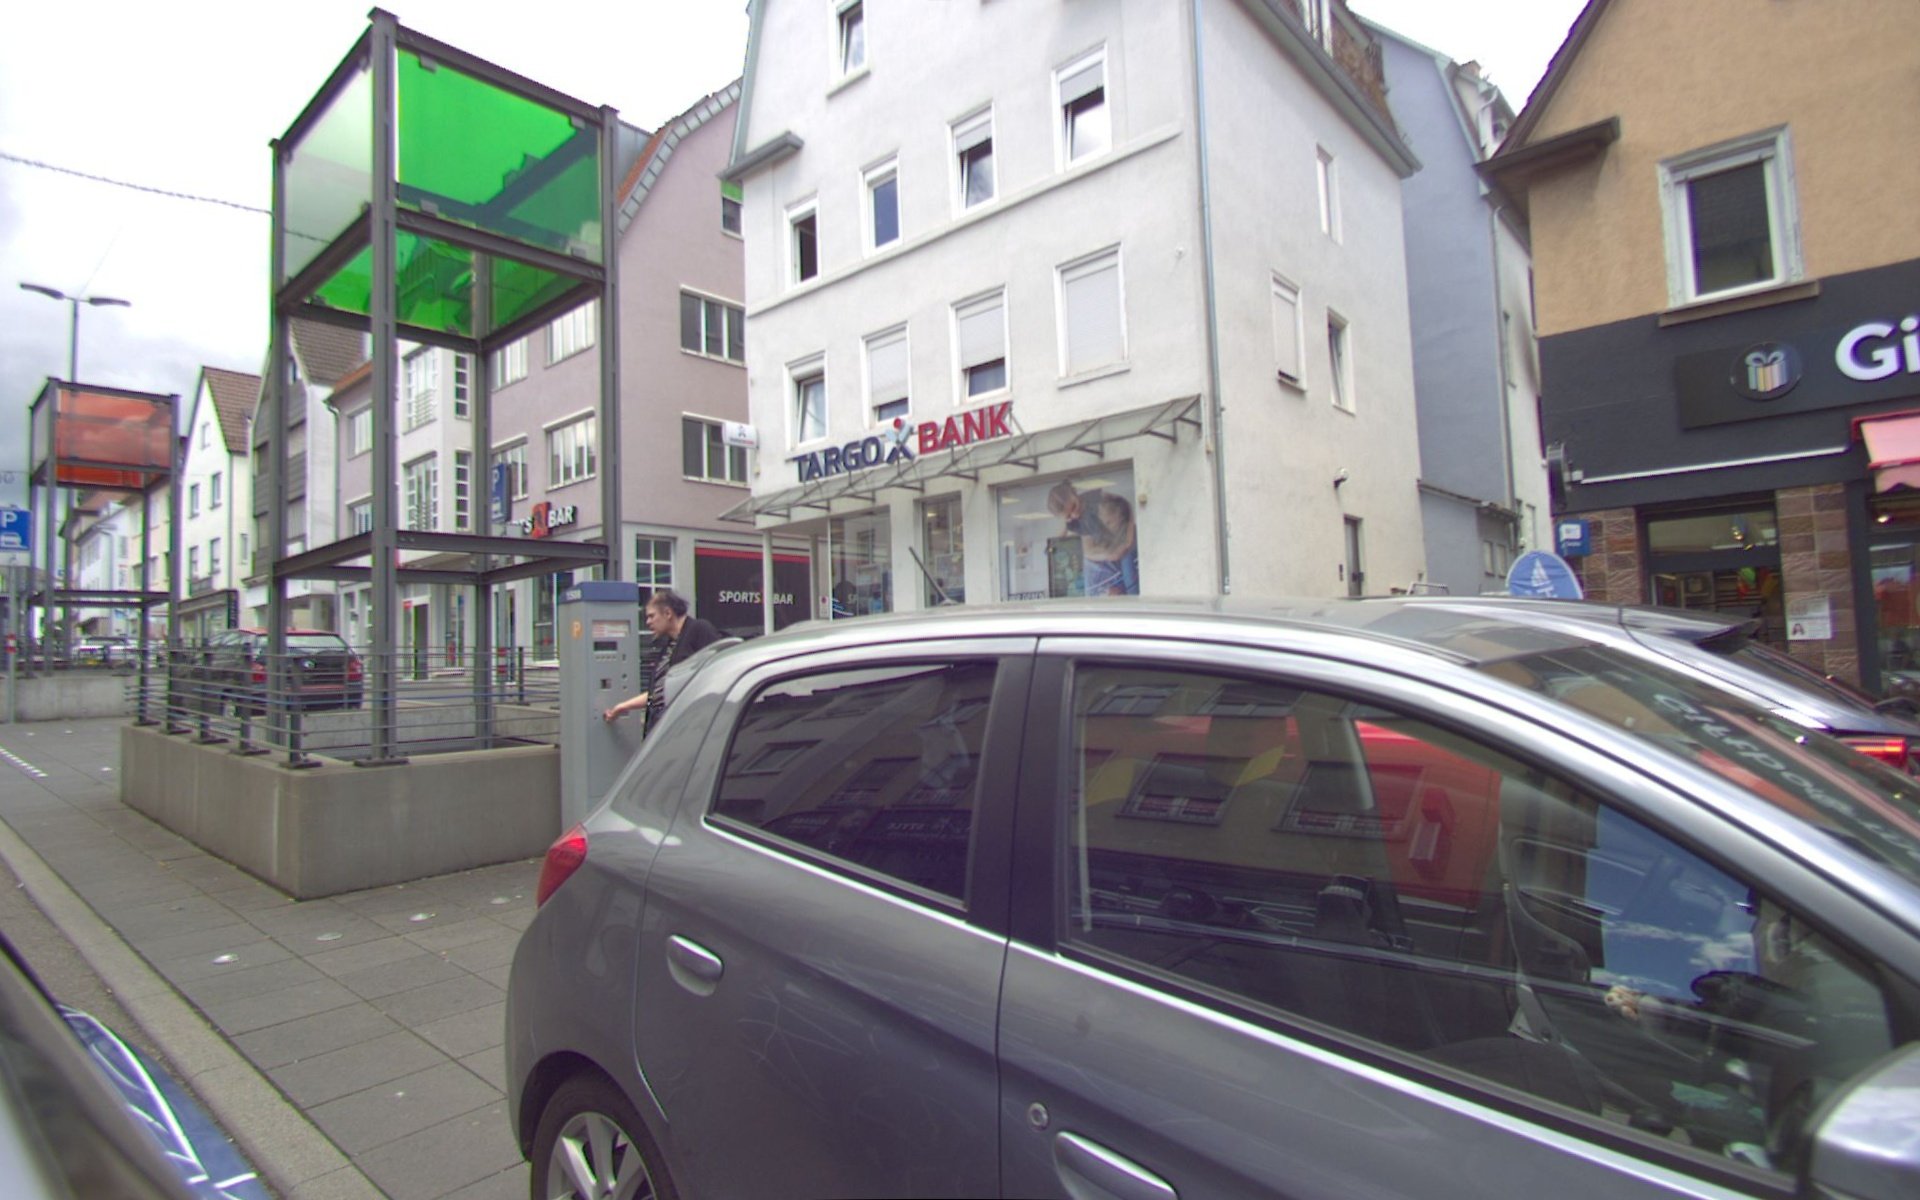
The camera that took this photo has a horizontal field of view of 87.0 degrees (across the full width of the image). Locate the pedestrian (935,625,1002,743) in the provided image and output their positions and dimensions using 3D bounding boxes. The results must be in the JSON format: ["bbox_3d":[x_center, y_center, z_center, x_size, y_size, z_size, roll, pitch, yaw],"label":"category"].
[{"bbox_3d":[0.119,1.155,14.125,0.716,1.585,0.559,-2,-4,41],"label":"pedestrian"}]

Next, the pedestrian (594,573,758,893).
[{"bbox_3d":[-1.656,0.715,5.857,0.901,1.685,0.527,-3,-3,44],"label":"pedestrian"}]

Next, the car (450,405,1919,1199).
[{"bbox_3d":[0.804,0.645,1.613,3.668,1.544,1.603,-1,-1,41],"label":"car"}]

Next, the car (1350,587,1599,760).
[{"bbox_3d":[6.893,0.821,13.345,1.883,1.887,4.027,-2,-1,42],"label":"car"}]

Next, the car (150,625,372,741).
[{"bbox_3d":[-10.331,1.138,14.882,3.850,1.486,1.554,-1,-3,38],"label":"car"}]

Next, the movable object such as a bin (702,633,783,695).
[{"bbox_3d":[-5.111,1.473,23.758,1.406,1.387,1.270,-2,-2,41],"label":"movable object such as a bin"}]

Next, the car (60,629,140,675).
[{"bbox_3d":[-32.068,1.877,37.715,4.120,1.583,1.662,-1,-1,41],"label":"car"}]

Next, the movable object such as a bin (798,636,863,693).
[{"bbox_3d":[-3.289,1.620,25.744,1.043,1.387,1.270,-2,-2,40],"label":"movable object such as a bin"}]

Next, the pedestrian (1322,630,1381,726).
[{"bbox_3d":[5.630,1.101,14.555,0.606,1.329,0.619,-2,-2,40],"label":"pedestrian"}]

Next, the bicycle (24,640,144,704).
[{"bbox_3d":[-17.627,1.432,20.399,0.459,1.232,1.760,-1,-3,40],"label":"bicycle"}]

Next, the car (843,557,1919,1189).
[{"bbox_3d":[1.585,0.731,4.285,4.189,1.555,1.721,-1,-3,40],"label":"car"}]

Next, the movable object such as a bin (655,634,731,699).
[{"bbox_3d":[-6.015,1.475,22.819,1.067,1.387,1.270,-2,-2,40],"label":"movable object such as a bin"}]

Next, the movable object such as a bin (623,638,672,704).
[{"bbox_3d":[-6.780,1.526,21.959,0.807,1.387,0.682,-2,-2,41],"label":"movable object such as a bin"}]

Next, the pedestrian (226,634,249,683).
[{"bbox_3d":[-26.076,2.088,36.527,0.513,1.729,0.584,-1,-1,41],"label":"pedestrian"}]
